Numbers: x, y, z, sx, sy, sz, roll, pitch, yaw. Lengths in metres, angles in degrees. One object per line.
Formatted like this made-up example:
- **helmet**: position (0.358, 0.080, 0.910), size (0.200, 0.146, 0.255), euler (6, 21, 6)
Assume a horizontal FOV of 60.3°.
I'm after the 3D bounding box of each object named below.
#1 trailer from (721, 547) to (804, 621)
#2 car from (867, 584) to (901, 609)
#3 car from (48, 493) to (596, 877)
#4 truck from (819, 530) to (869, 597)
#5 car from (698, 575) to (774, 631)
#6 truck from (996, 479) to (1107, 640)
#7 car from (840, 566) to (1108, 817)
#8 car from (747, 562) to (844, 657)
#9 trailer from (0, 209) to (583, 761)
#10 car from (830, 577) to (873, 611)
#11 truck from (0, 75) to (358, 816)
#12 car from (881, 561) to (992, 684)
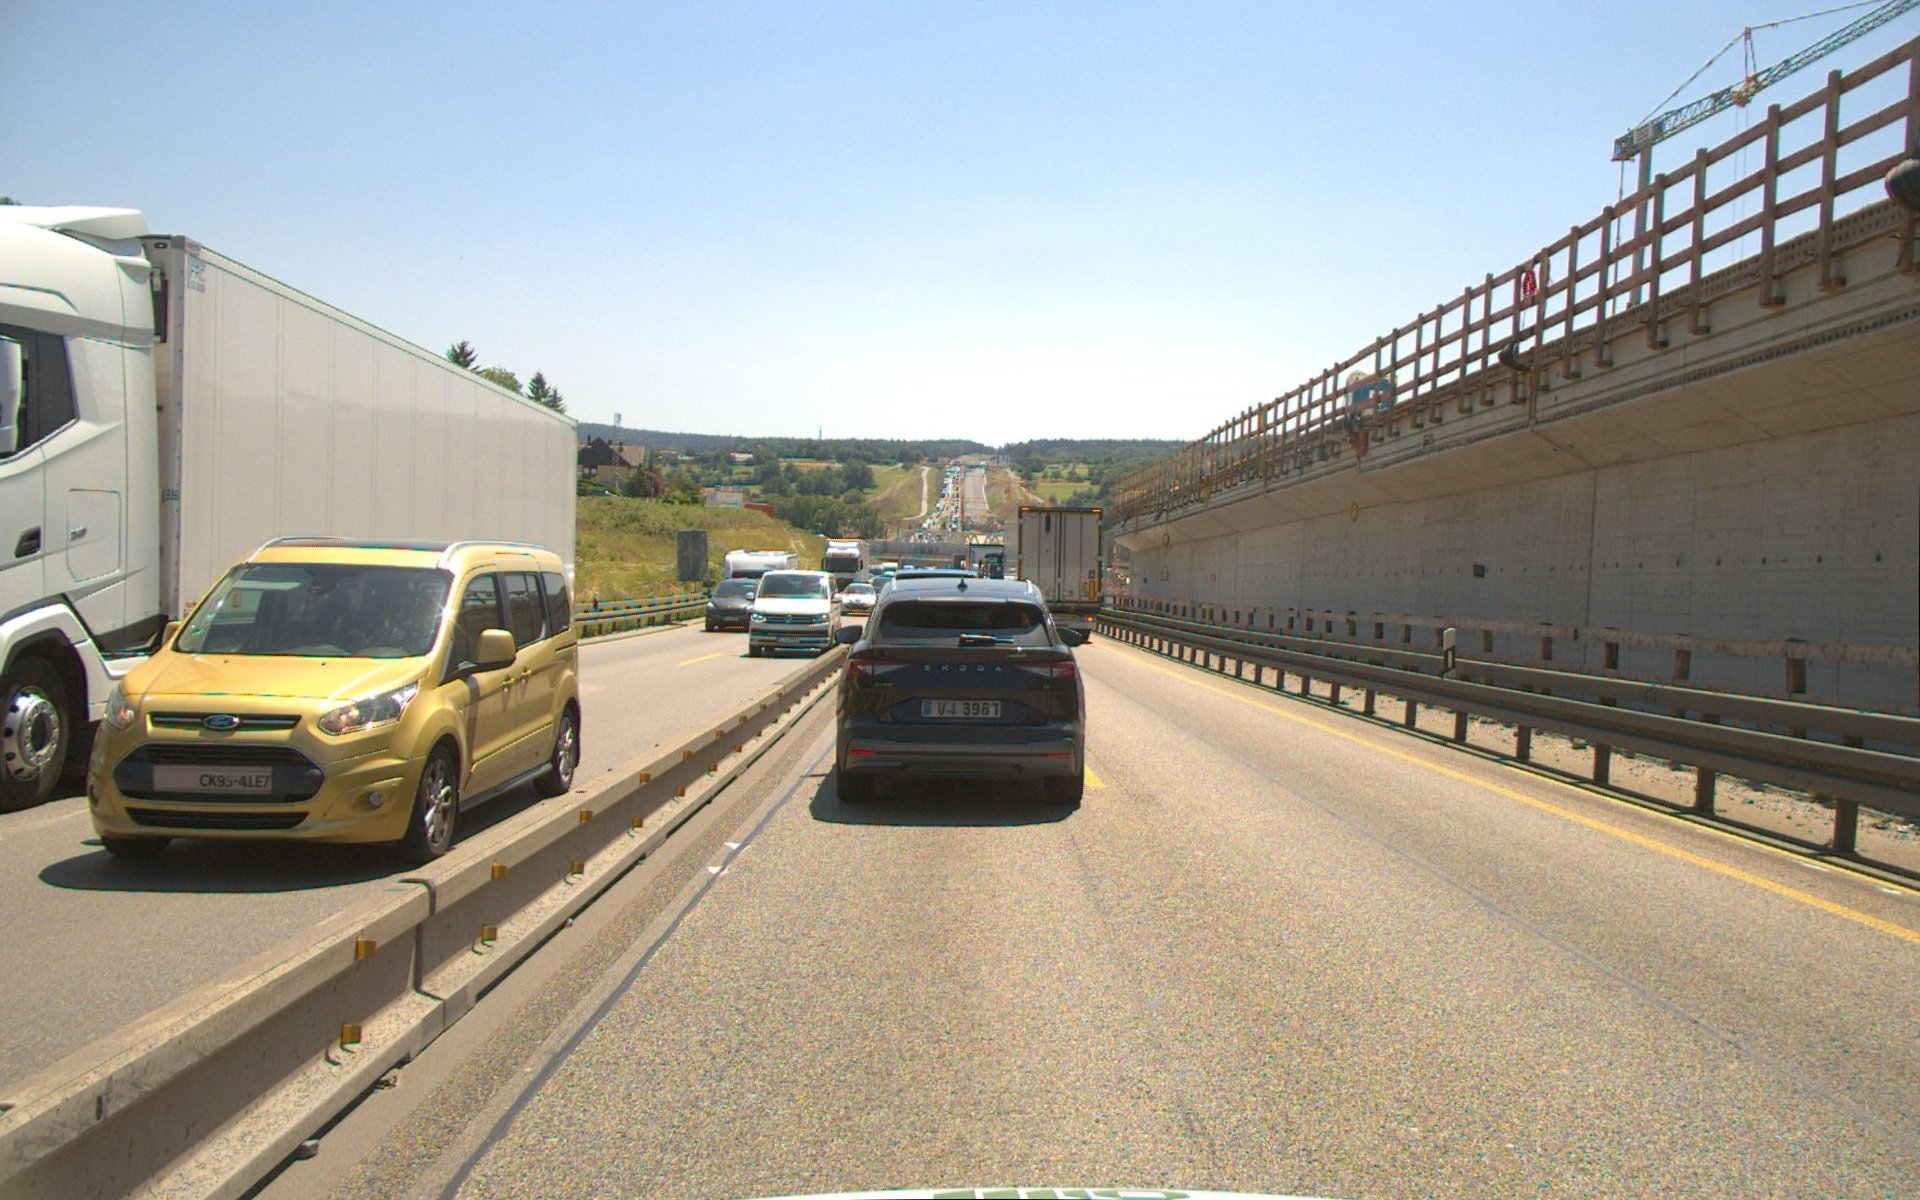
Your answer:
- **trailer**: position (-7.454, -0.539, 62.915), size (2.434, 2.659, 5.866), euler (0, -1, 0)
- **car**: position (-4.344, -0.181, 94.813), size (1.735, 1.311, 4.000), euler (2, -1, 0)
- **car**: position (-3.625, 0.410, 10.360), size (1.739, 1.852, 4.432), euler (1, 0, -1)
- **truck**: position (-8.261, -2.540, 118.629), size (2.697, 4.300, 8.098), euler (5, -1, 0)
- **car**: position (-7.360, 0.095, 54.760), size (1.838, 1.742, 4.647), euler (1, 0, 0)
- **truck**: position (2.853, -1.144, 55.068), size (2.788, 4.696, 11.809), euler (2, -1, 0)
- **car**: position (0.032, 0.608, 12.836), size (1.747, 1.625, 3.753), euler (1, 0, -2)
- **car**: position (-3.787, 0.238, 38.756), size (1.825, 2.049, 4.804), euler (1, -1, -1)
- **trailer**: position (-7.469, -0.935, 19.466), size (3.155, 4.231, 13.405), euler (1, 0, -1)
- **car**: position (-4.898, -0.238, 74.918), size (1.668, 1.466, 3.999), euler (0, -1, 0)
- **truck**: position (-7.209, -0.900, 12.237), size (3.116, 4.312, 6.483), euler (1, -1, -1)
- **car**: position (-0.475, 0.374, 29.406), size (1.715, 1.928, 3.753), euler (4, 0, -3)
